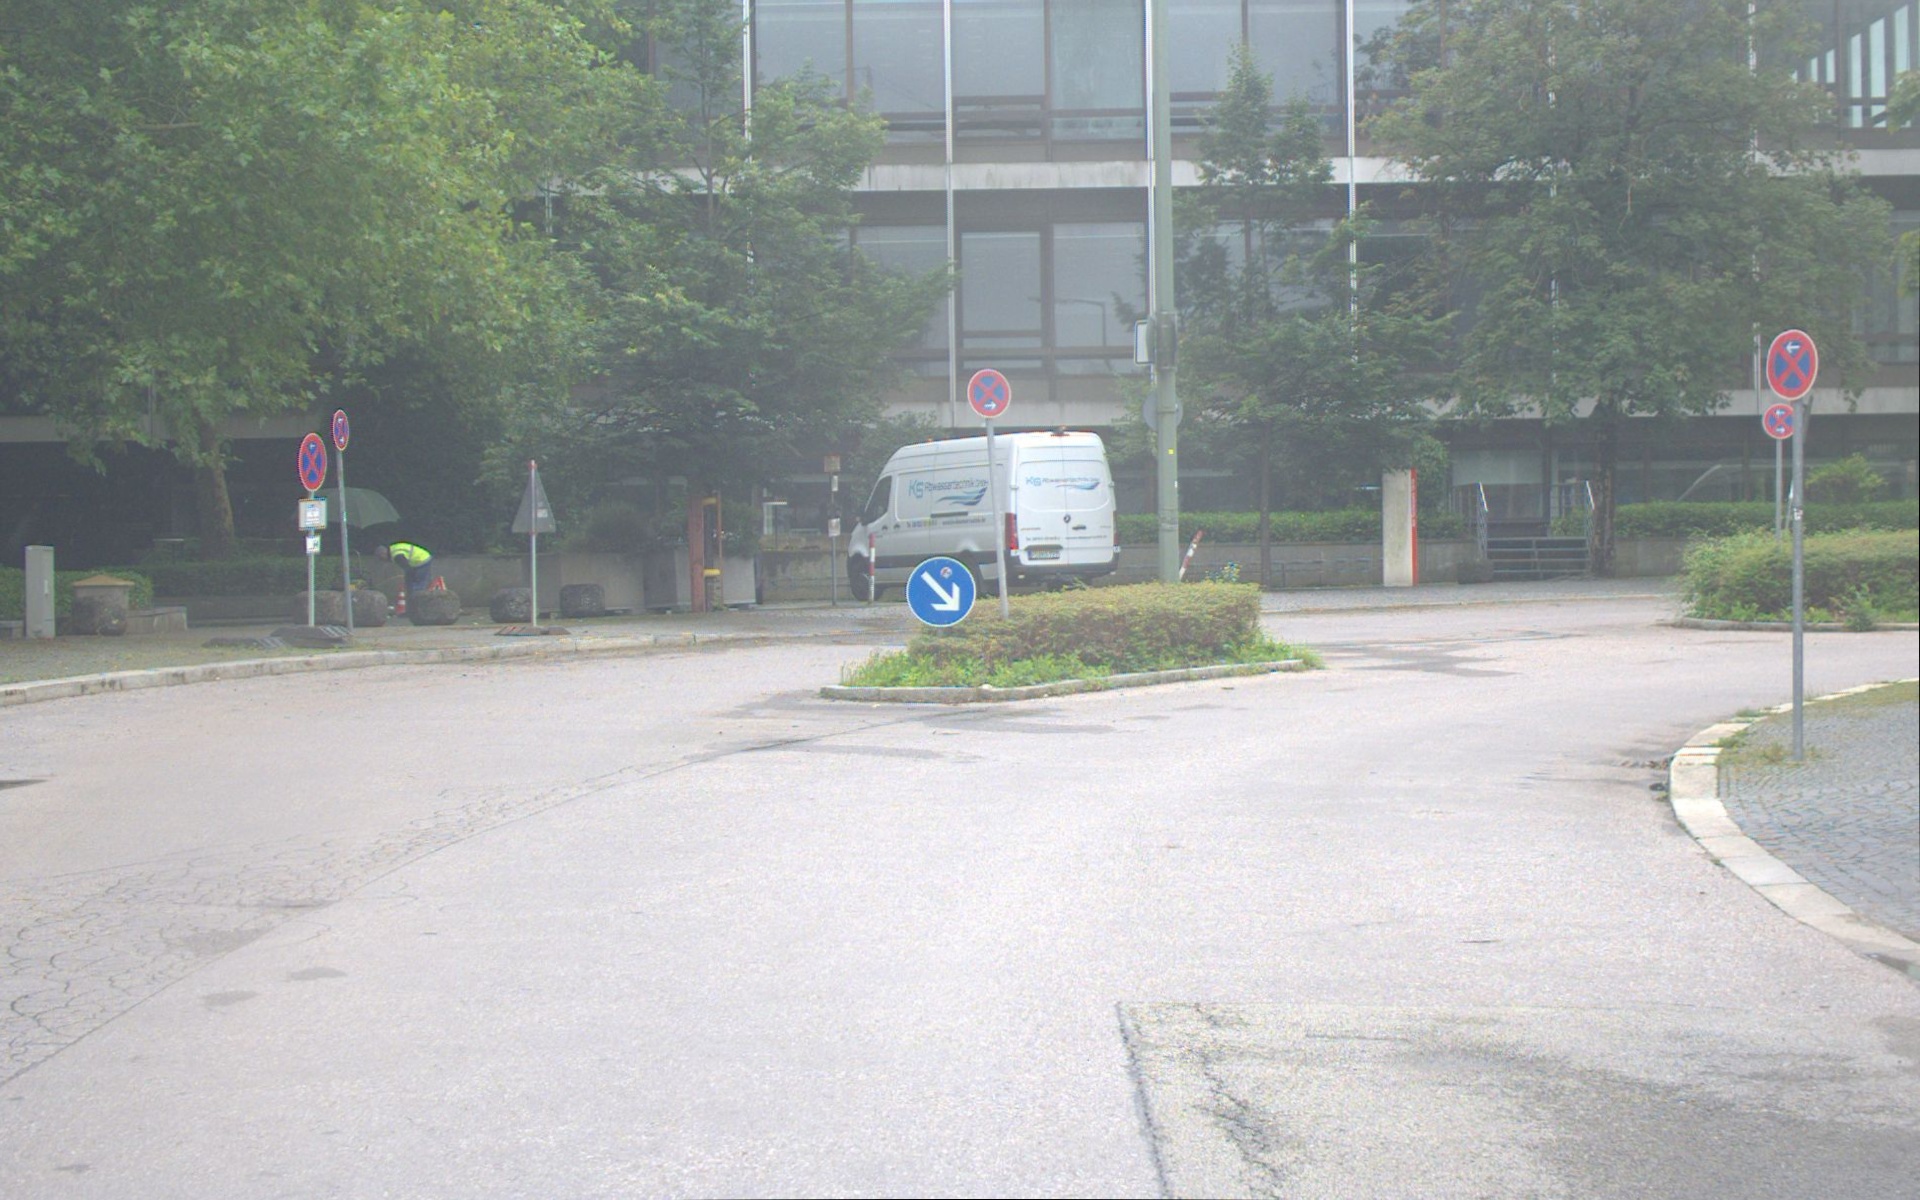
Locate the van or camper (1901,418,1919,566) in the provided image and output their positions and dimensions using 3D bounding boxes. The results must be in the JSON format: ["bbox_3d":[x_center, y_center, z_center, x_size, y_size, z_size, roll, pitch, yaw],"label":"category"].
[{"bbox_3d":[18.017,-1.705,53.157,6.396,2.273,2.256,-1,1,-14],"label":"van or camper"}]

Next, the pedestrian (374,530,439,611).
[{"bbox_3d":[-8.712,-0.465,54.136,0.926,1.273,0.542,0,1,2],"label":"pedestrian"}]

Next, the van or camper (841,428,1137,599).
[{"bbox_3d":[0.368,-1.347,56.225,2.155,2.572,6.540,-1,0,-26],"label":"van or camper"}]

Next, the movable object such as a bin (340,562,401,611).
[{"bbox_3d":[-9.278,-0.213,54.108,0.834,0.751,0.572,0,1,3],"label":"movable object such as a bin"}]
